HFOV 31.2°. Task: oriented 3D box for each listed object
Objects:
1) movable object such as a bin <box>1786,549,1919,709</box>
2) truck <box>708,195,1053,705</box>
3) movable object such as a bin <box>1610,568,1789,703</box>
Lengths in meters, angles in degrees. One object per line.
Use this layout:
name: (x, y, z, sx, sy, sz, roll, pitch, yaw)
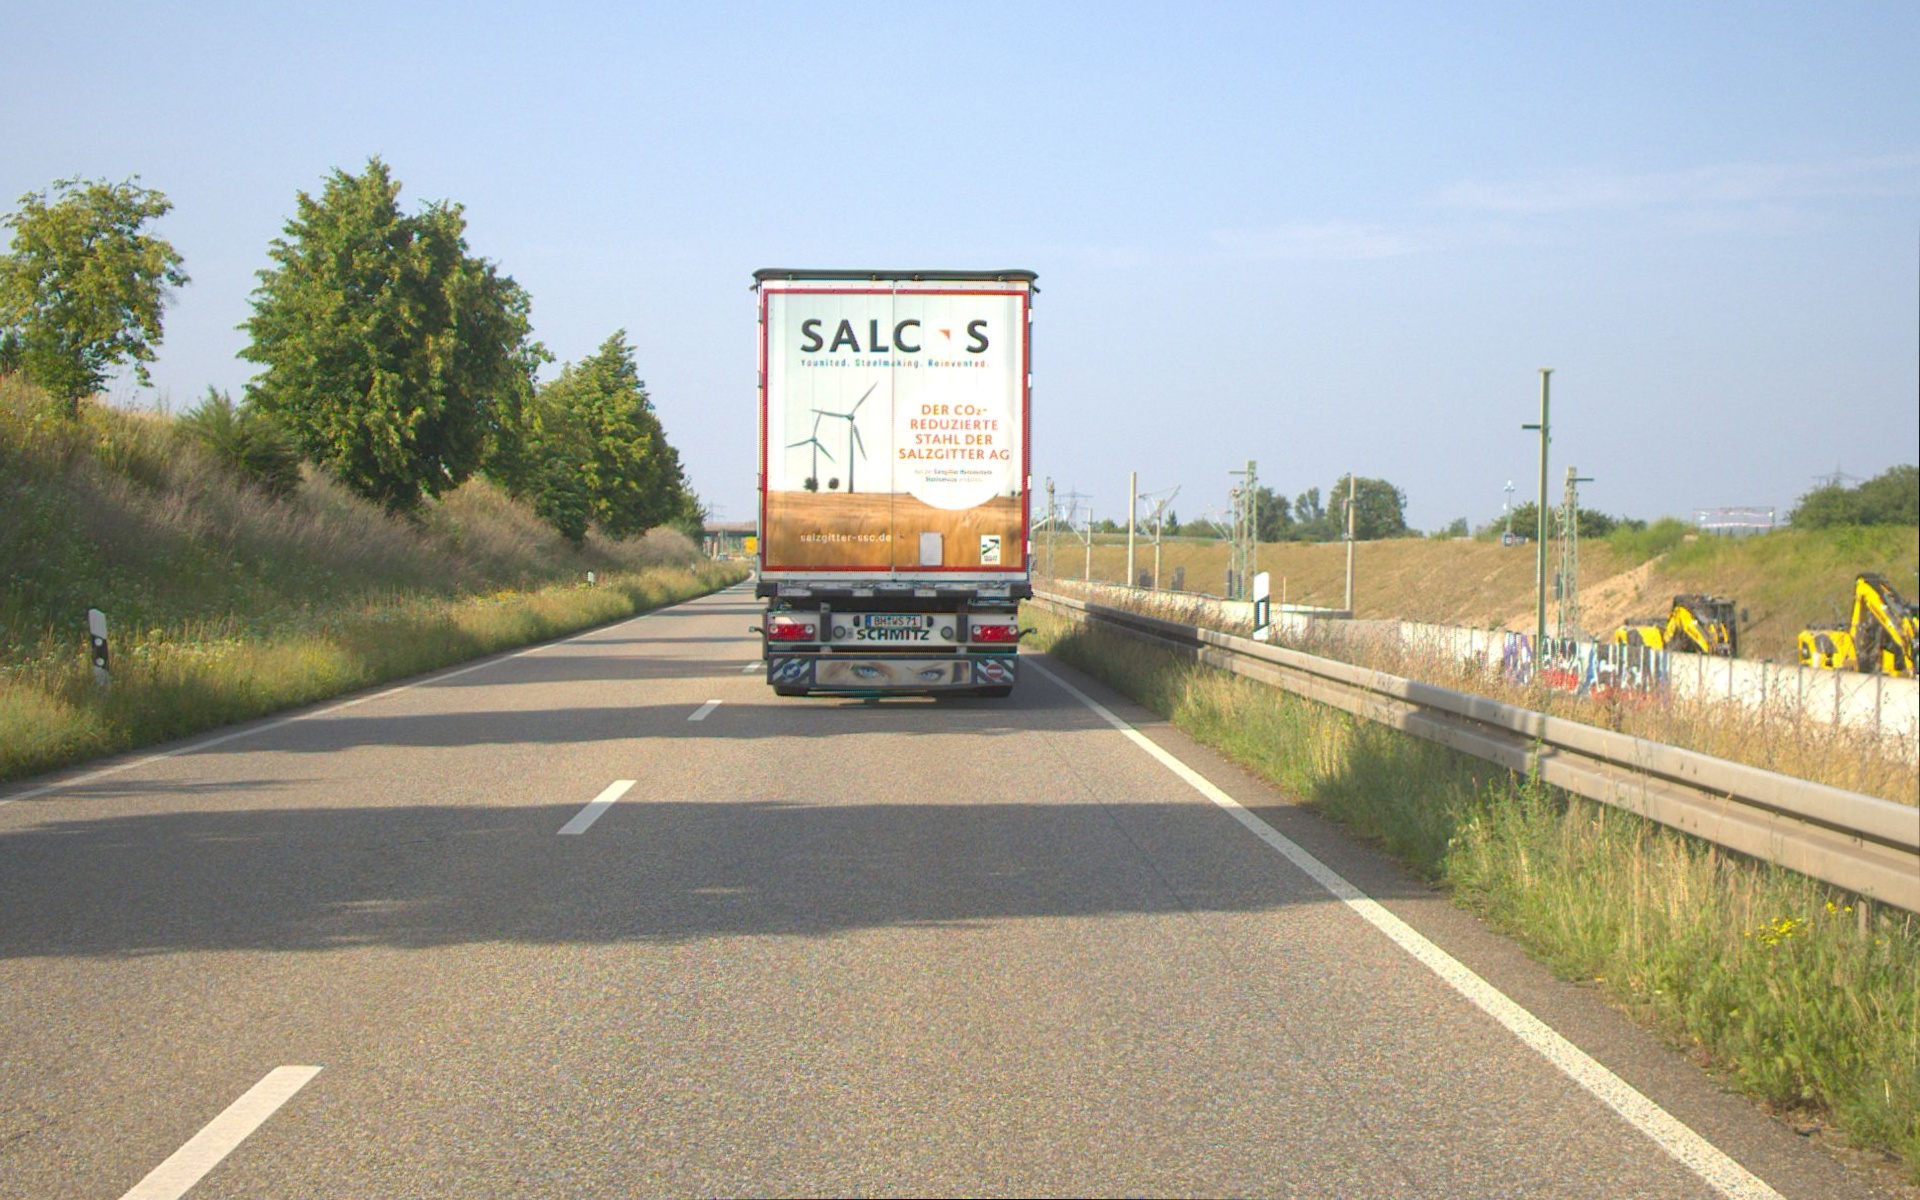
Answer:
movable object such as a bin: (23.597, 0.672, 88.091, 2.796, 3.872, 7.539, 1, 1, -2)
truck: (-0.779, -1.454, 35.748, 3.153, 4.672, 8.442, 0, 1, -1)
movable object such as a bin: (19.081, 0.844, 89.224, 2.621, 3.228, 8.074, 1, 1, -2)
